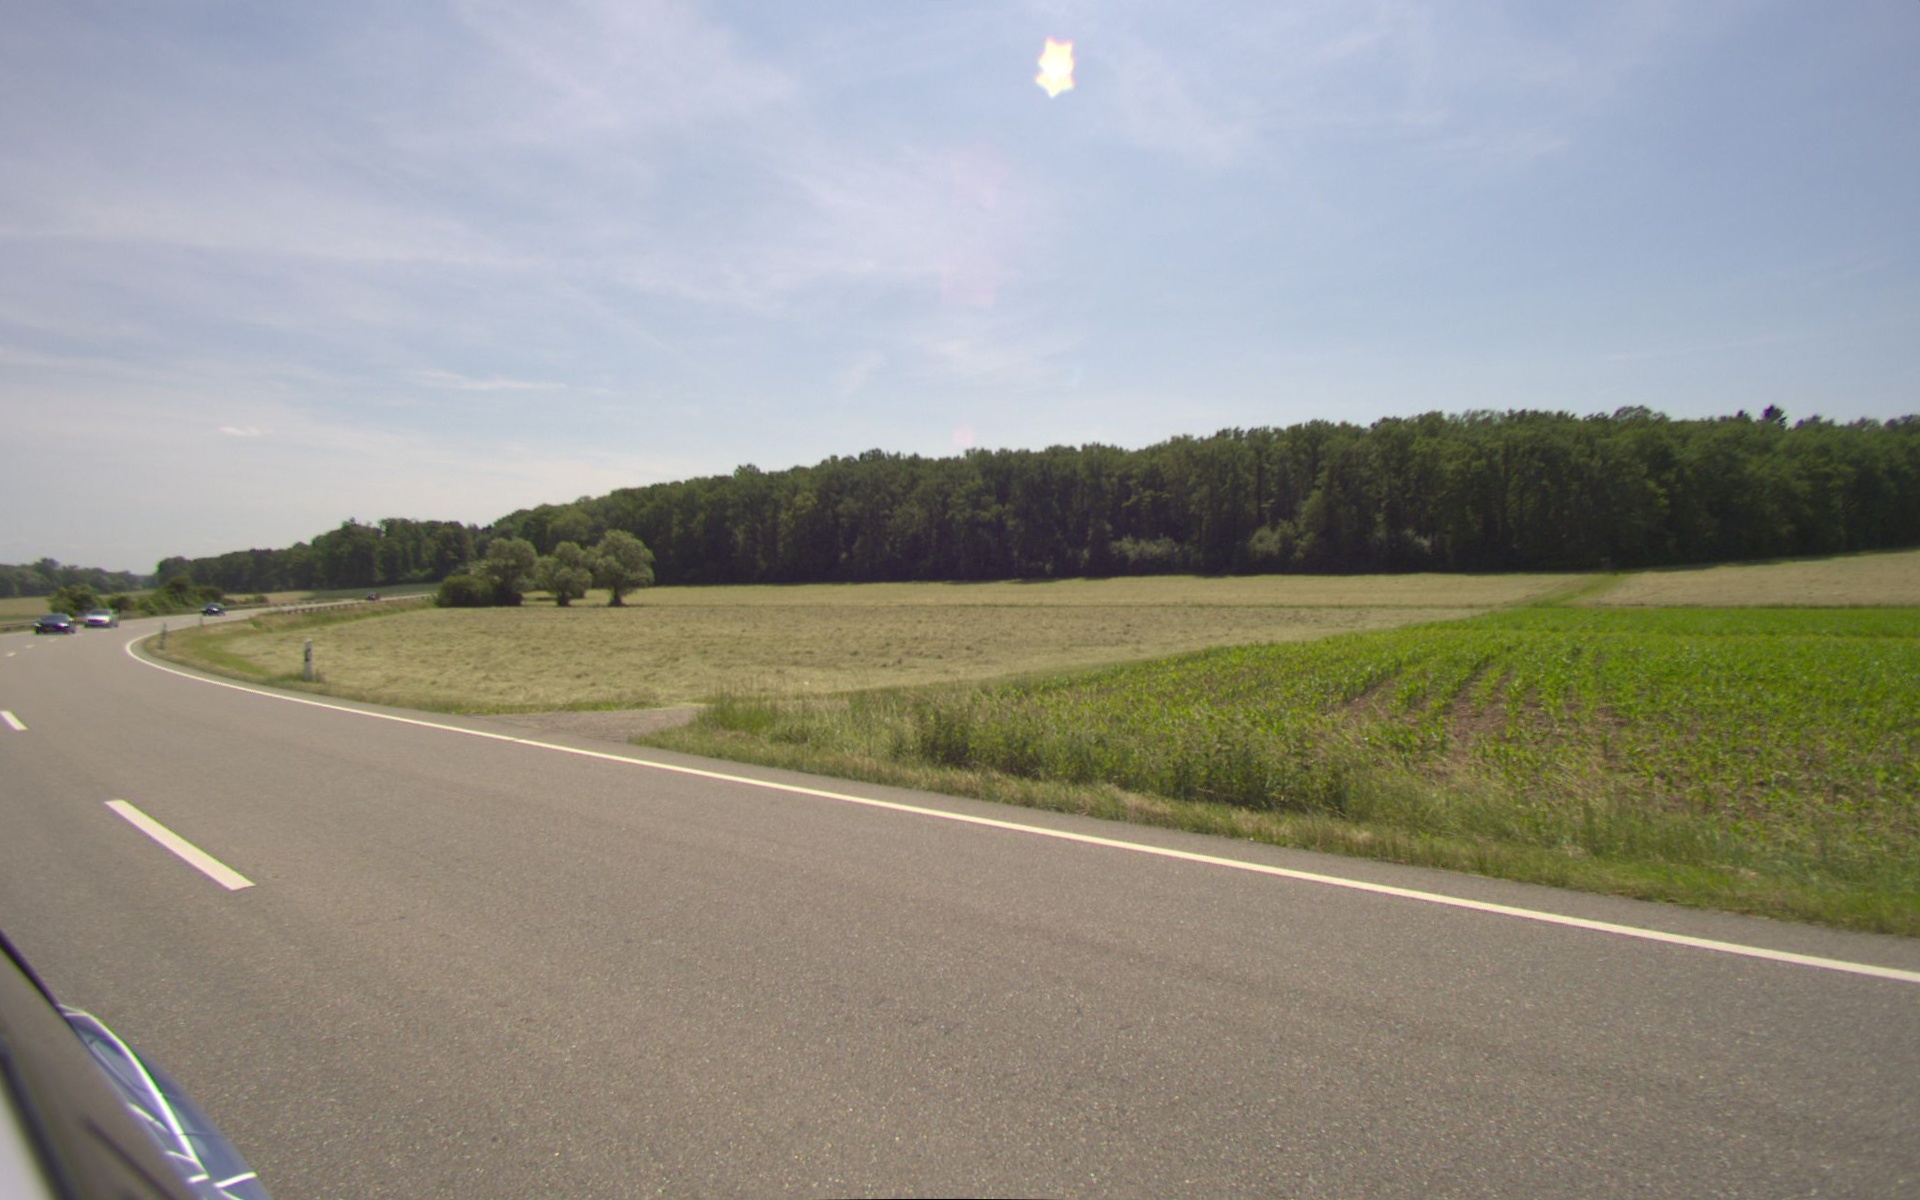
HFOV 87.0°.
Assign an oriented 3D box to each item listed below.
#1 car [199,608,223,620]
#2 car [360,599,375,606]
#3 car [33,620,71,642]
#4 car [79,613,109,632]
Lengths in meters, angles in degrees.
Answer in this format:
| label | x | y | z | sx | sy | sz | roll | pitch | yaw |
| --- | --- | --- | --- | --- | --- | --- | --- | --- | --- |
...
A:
| label | x | y | z | sx | sy | sz | roll | pitch | yaw |
| --- | --- | --- | --- | --- | --- | --- | --- | --- | --- |
| car | -94.288 | 1.729 | 127.400 | 1.594 | 1.447 | 3.455 | -1 | 1 | -22 |
| car | -120.101 | 0.508 | 205.104 | 1.596 | 1.447 | 3.452 | 0 | 1 | -13 |
| car | -63.739 | 2.129 | 71.050 | 1.596 | 1.447 | 3.451 | -1 | 0 | -36 |
| car | -73.729 | 1.940 | 86.200 | 1.596 | 1.447 | 3.452 | -1 | 2 | -35 |
